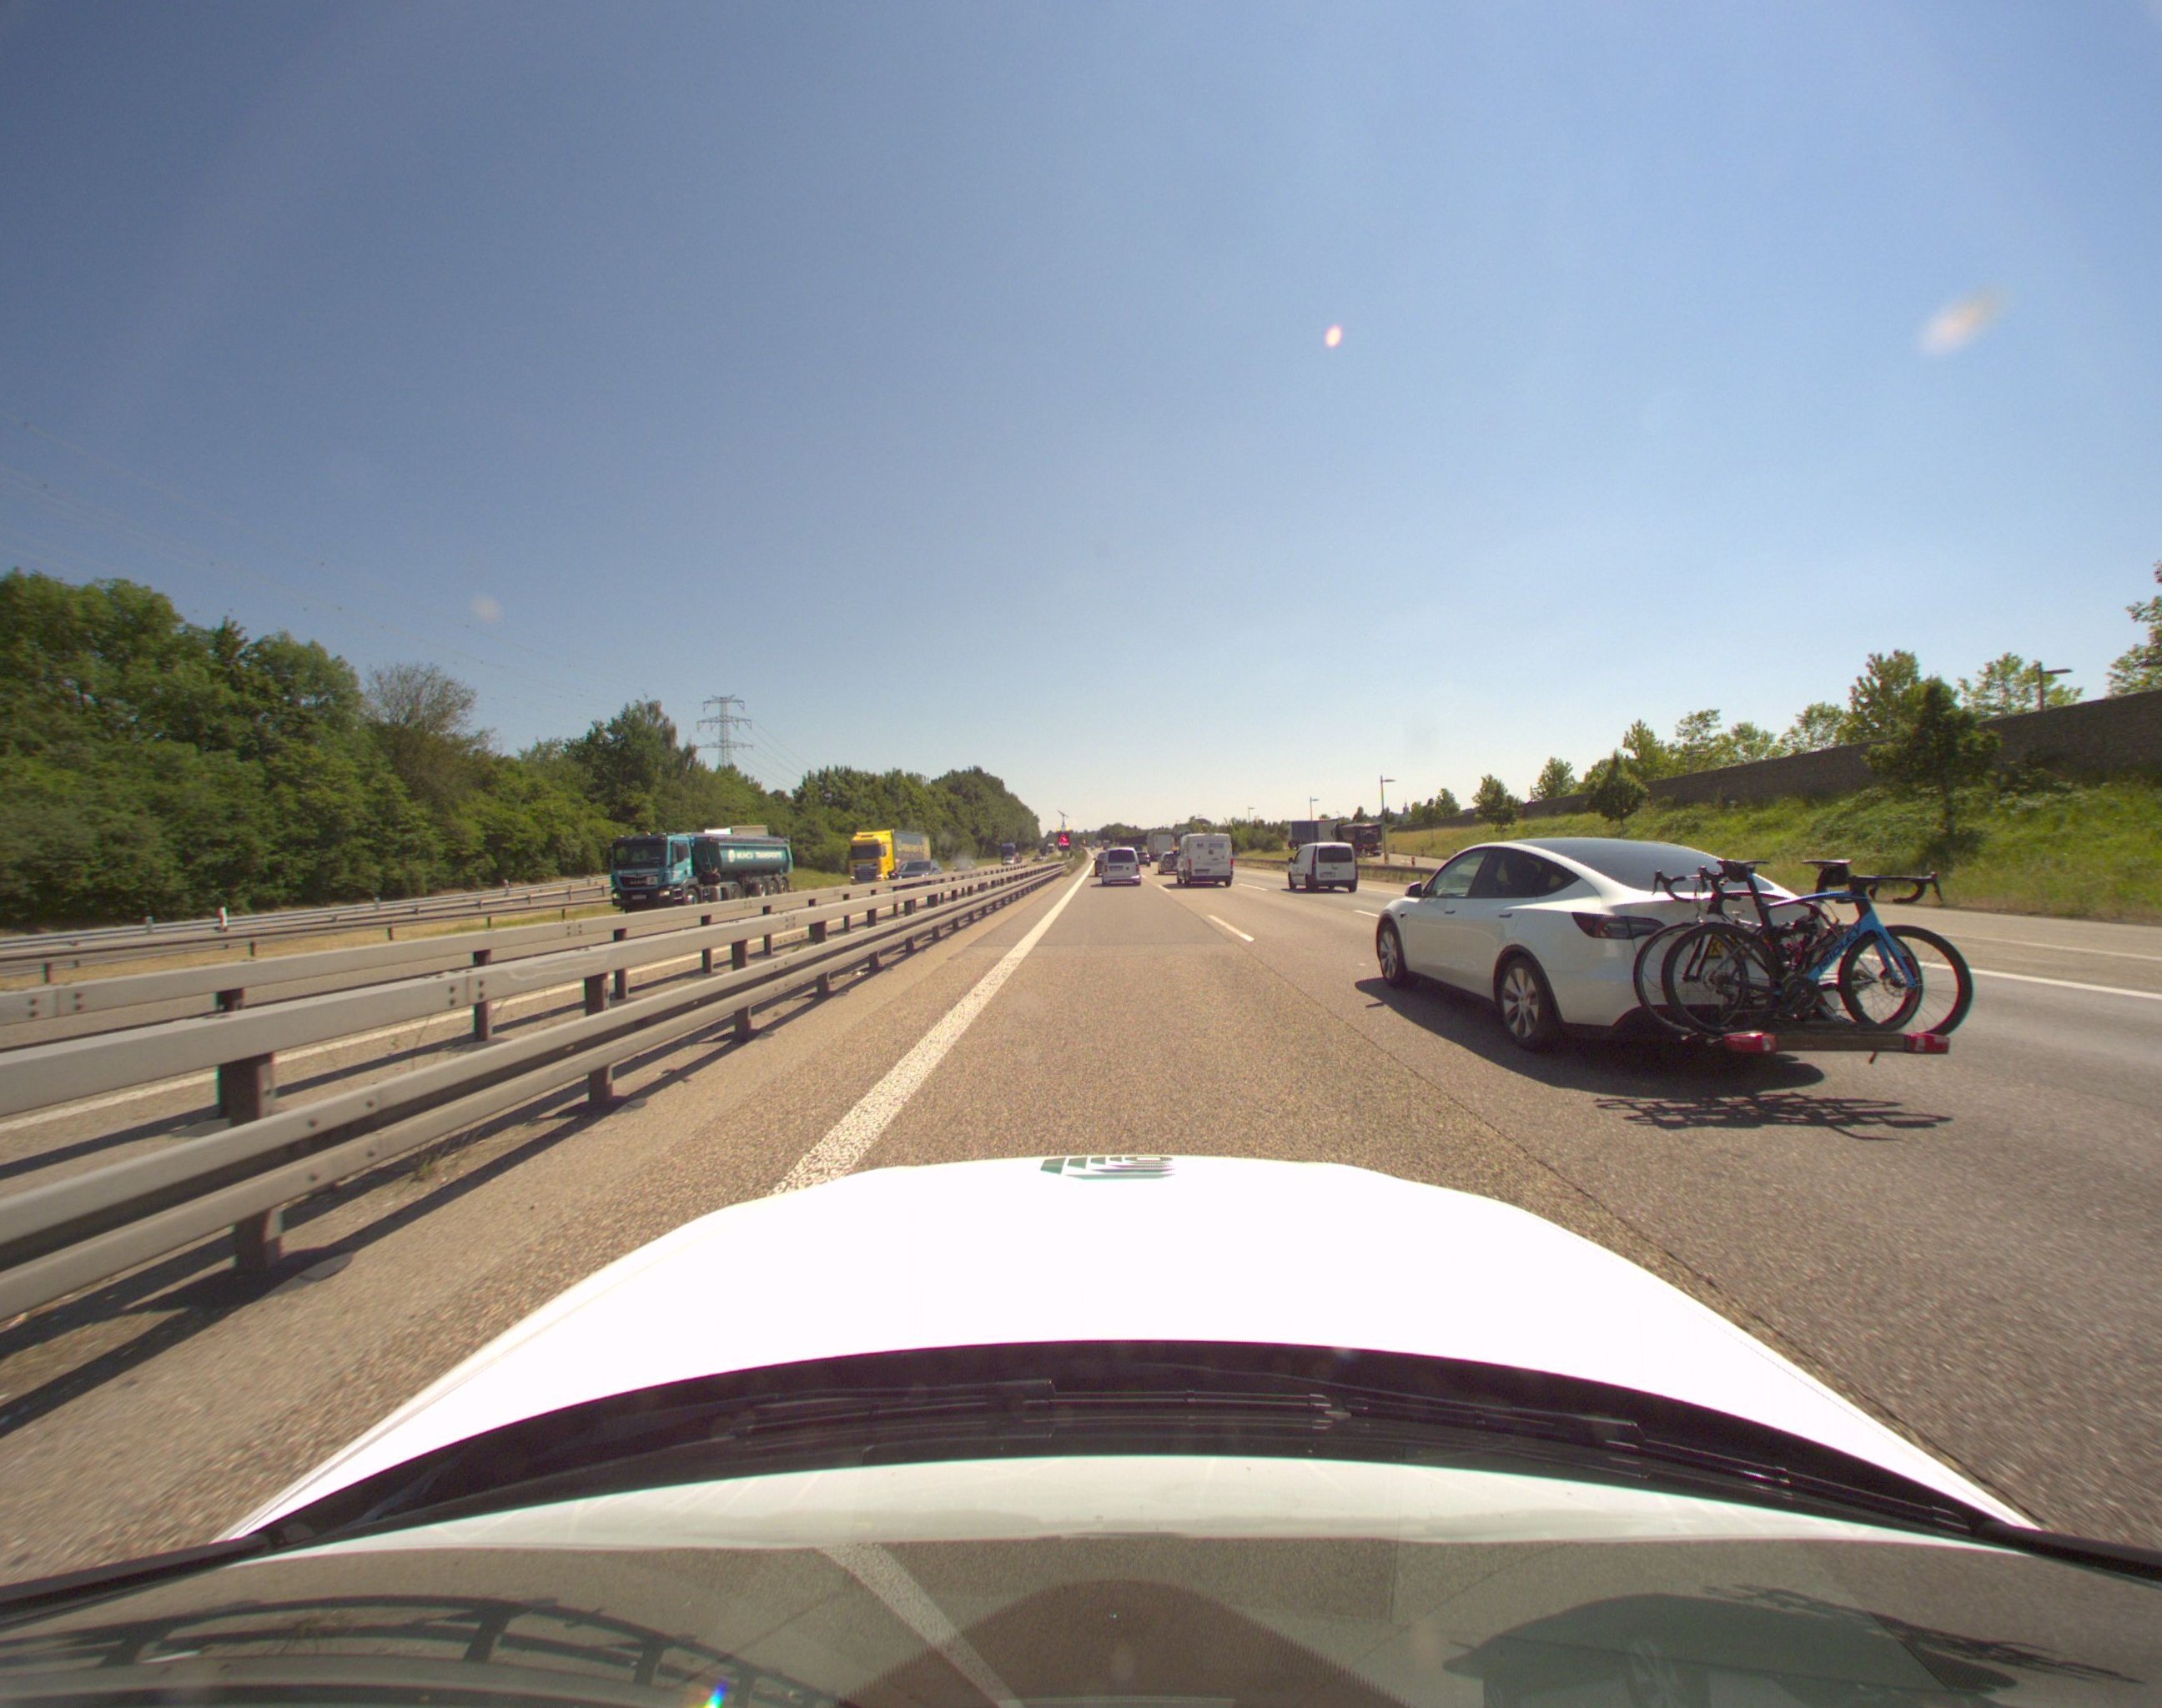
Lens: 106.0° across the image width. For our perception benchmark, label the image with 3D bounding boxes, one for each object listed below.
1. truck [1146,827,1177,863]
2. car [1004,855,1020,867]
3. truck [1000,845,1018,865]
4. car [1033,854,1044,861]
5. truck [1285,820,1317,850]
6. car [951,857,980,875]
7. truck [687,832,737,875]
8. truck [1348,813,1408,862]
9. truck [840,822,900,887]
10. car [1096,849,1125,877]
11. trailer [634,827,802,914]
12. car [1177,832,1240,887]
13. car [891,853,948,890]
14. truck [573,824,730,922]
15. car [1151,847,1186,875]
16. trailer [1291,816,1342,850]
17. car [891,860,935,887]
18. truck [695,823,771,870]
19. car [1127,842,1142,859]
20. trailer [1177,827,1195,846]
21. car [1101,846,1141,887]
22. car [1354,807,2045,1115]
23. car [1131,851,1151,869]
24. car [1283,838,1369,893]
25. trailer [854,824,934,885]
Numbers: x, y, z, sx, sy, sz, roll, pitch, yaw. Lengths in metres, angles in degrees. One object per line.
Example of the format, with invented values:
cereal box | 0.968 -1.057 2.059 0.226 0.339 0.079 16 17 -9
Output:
truck | 11.613 -1.271 118.930 3.773 4.999 12.526 -1 0 2
car | -9.596 0.980 113.456 1.775 1.530 3.884 -5 0 1
truck | -13.229 0.227 149.925 2.985 3.558 3.118 -2 0 1
car | -8.547 0.760 164.381 1.763 1.334 4.923 -3 0 2
truck | 31.192 -2.699 115.822 3.041 4.083 6.401 -1 0 2
car | -10.636 1.104 75.184 1.705 1.468 4.150 -4 0 3
truck | -34.923 -0.107 77.139 2.941 3.895 4.315 -2 2 -7
truck | 27.276 -1.416 75.431 3.762 4.083 12.564 -1 0 13
truck | -14.993 0.039 58.044 3.164 4.341 3.513 -2 0 0
car | 1.938 0.557 52.836 1.738 1.701 4.091 -3 0 3
trailer | -15.960 0.653 36.907 2.903 3.300 9.714 -2 0 2
car | 5.598 0.239 36.504 2.173 2.254 5.366 -1 0 2
car | -7.789 0.826 39.540 1.775 1.624 4.002 -3 0 2
truck | -16.139 0.665 31.077 2.903 3.300 5.333 -2 0 2
car | 5.855 0.474 54.854 1.968 1.733 4.091 -3 0 2
trailer | 30.933 -2.680 107.788 3.041 4.083 14.264 -1 0 2
car | -10.964 1.247 53.321 1.775 1.530 4.385 -5 0 1
truck | -35.786 -0.950 84.535 2.993 4.340 14.515 -2 2 -7
car | 6.629 -0.414 100.444 1.668 1.891 4.091 -3 0 2
trailer | 26.269 -4.355 204.544 2.596 4.257 18.423 -1 0 1
car | 1.875 0.541 38.550 1.738 1.764 4.091 -3 0 2
car | 4.262 0.573 7.180 1.943 1.636 5.602 -1 0 1
car | 6.075 0.564 82.726 1.894 1.672 4.091 -3 0 2
car | 9.063 0.392 30.515 1.944 1.837 4.178 -3 0 0
trailer | -14.958 0.046 66.738 3.164 4.341 13.811 -2 0 0
